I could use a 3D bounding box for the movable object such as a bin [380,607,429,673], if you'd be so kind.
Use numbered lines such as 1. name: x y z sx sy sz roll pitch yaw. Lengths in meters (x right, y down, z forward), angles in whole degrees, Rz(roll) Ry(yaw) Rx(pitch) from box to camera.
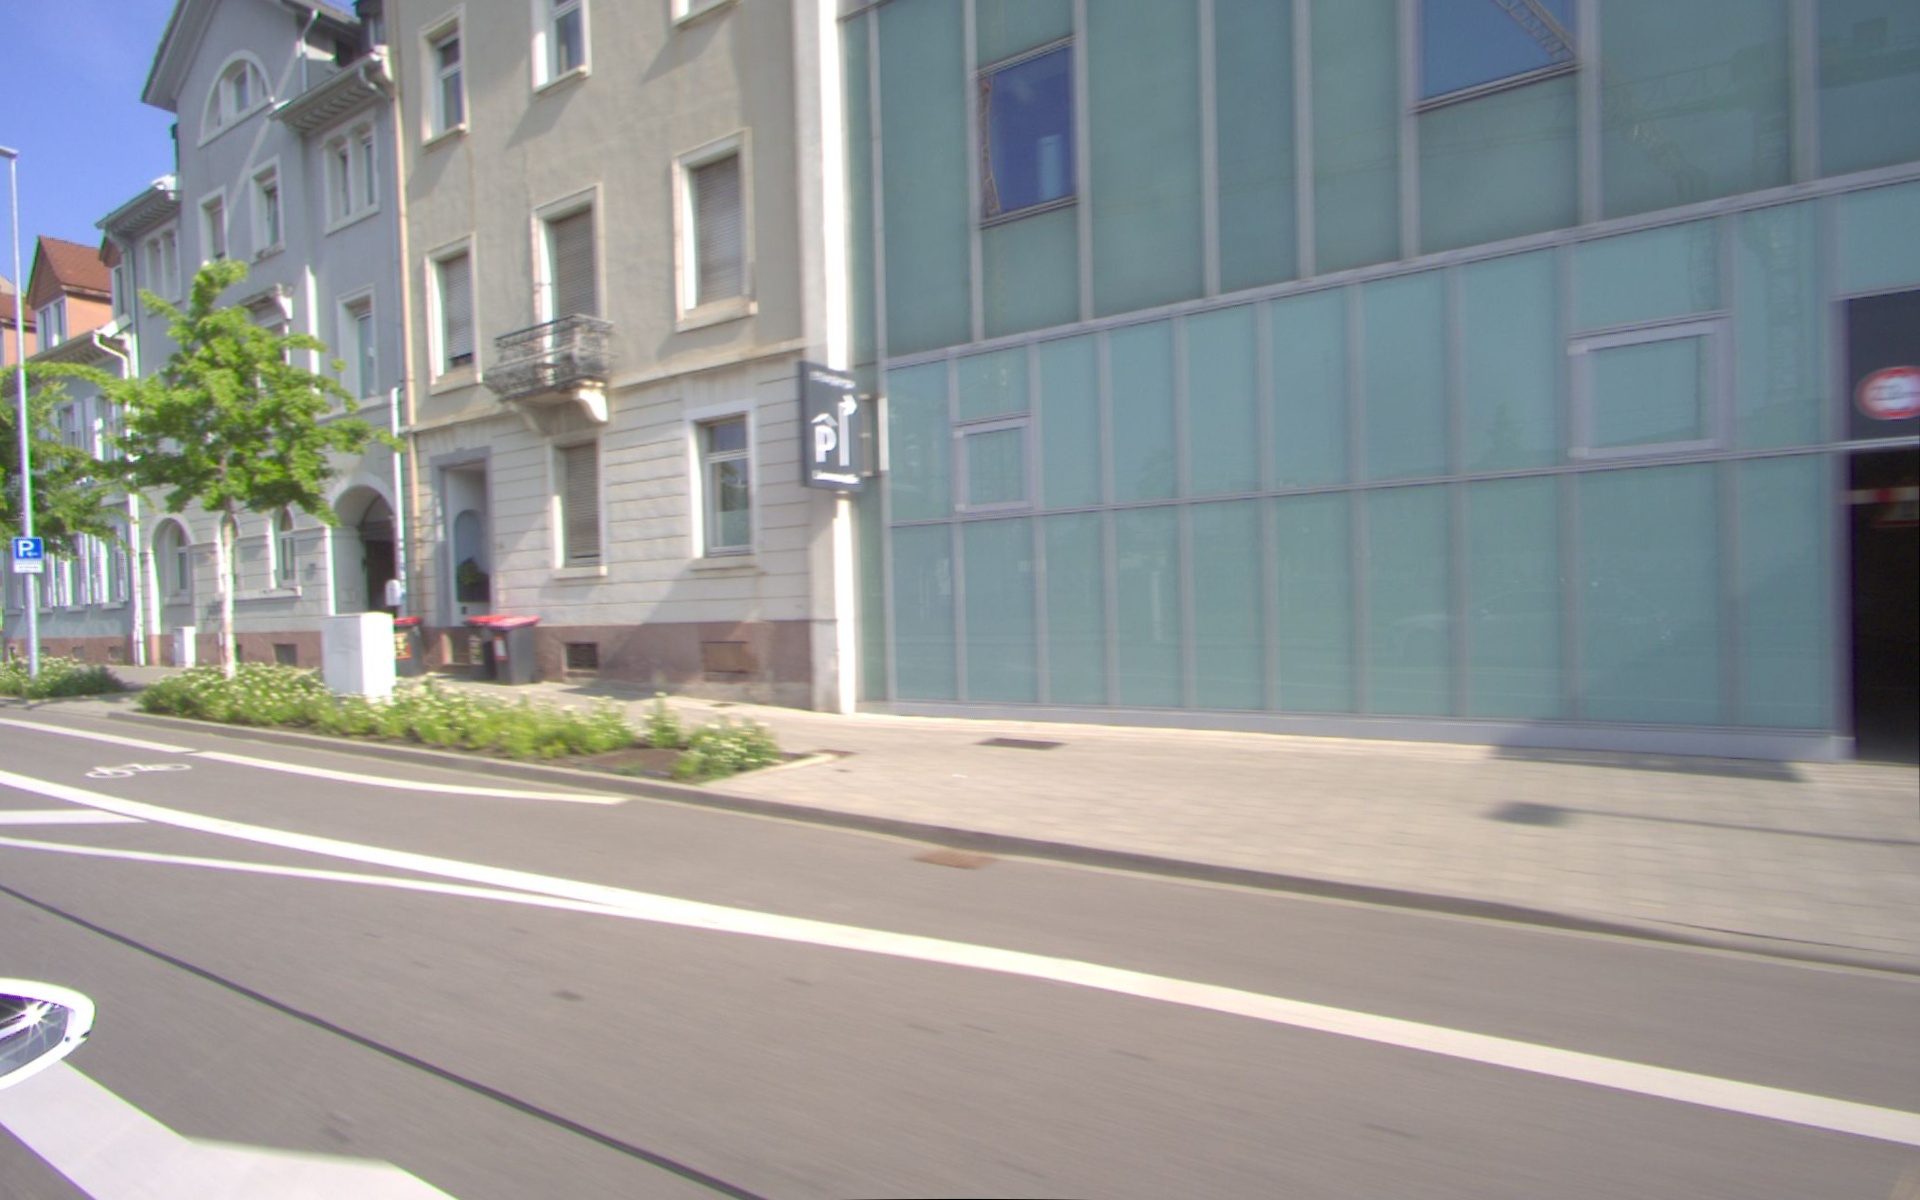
1. movable object such as a bin: -10.175 0.728 18.356 0.606 1.168 0.670 1 1 -11

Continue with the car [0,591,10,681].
1. car: -24.203 0.845 23.242 4.522 2.041 2.058 0 1 33

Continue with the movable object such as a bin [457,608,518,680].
1. movable object such as a bin: -8.088 0.734 17.133 0.661 1.168 0.703 2 2 32

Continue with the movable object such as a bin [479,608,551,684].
1. movable object such as a bin: -7.339 0.743 16.528 0.796 1.188 0.780 2 2 32
